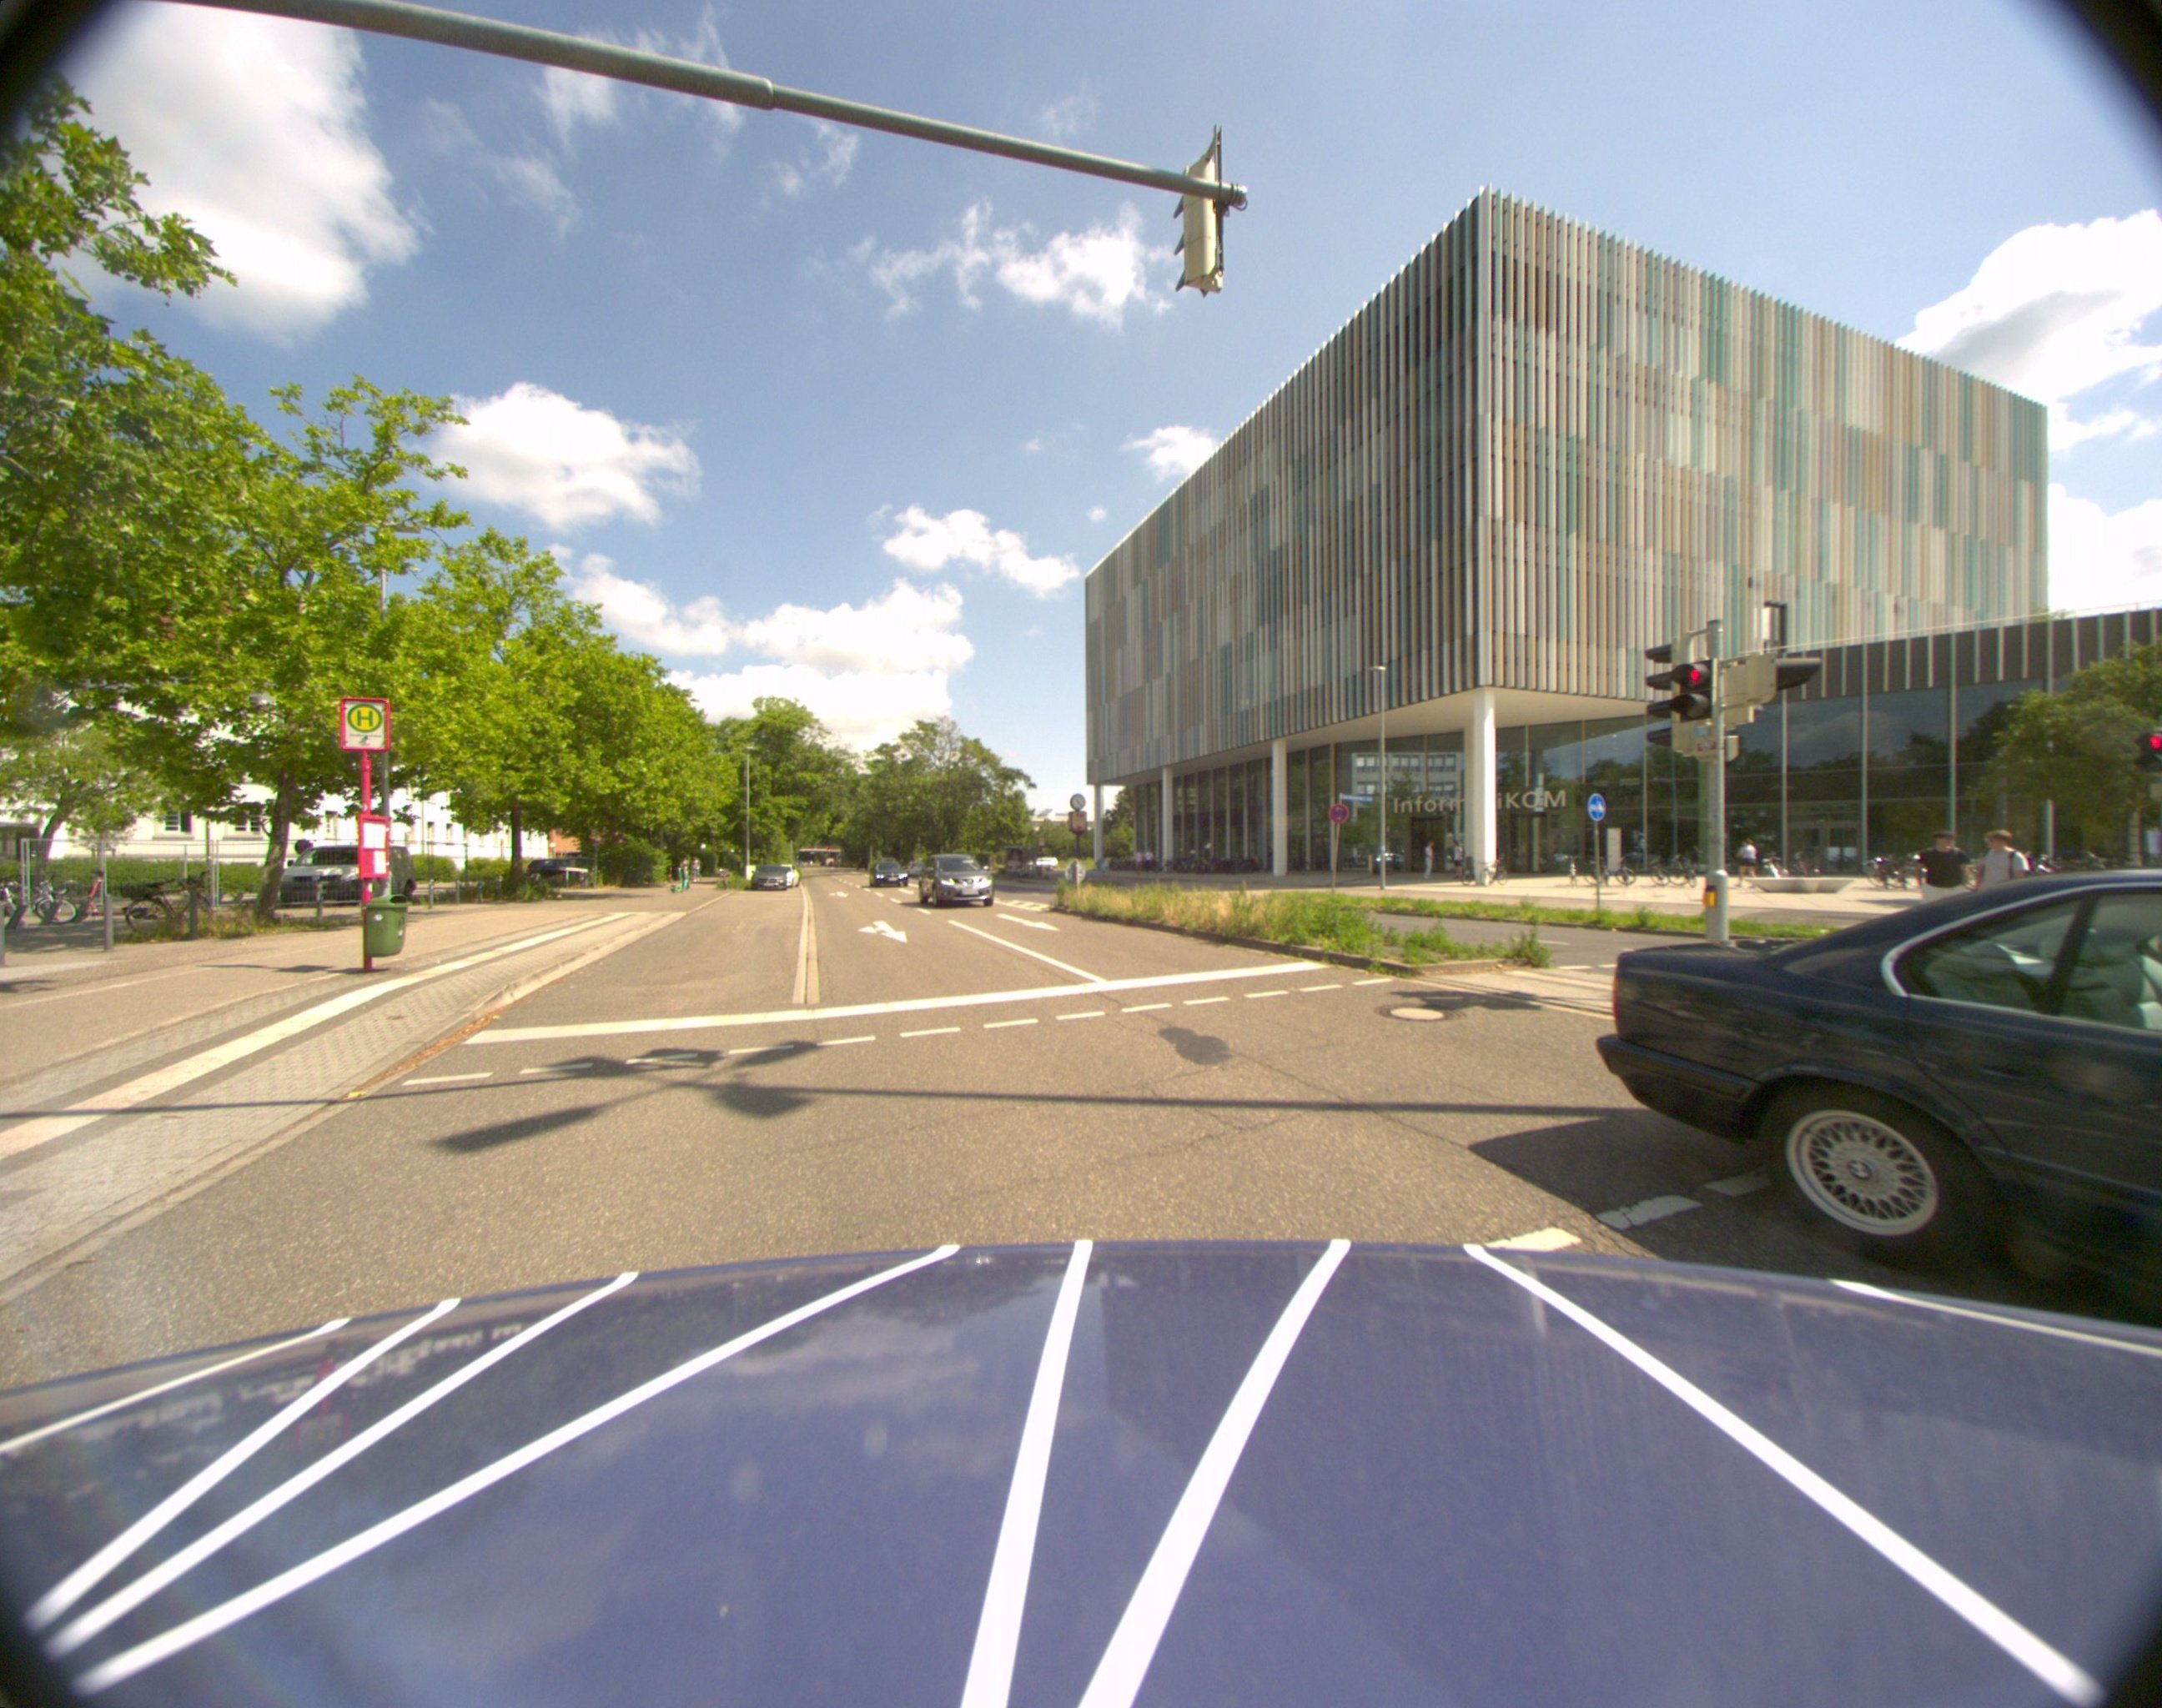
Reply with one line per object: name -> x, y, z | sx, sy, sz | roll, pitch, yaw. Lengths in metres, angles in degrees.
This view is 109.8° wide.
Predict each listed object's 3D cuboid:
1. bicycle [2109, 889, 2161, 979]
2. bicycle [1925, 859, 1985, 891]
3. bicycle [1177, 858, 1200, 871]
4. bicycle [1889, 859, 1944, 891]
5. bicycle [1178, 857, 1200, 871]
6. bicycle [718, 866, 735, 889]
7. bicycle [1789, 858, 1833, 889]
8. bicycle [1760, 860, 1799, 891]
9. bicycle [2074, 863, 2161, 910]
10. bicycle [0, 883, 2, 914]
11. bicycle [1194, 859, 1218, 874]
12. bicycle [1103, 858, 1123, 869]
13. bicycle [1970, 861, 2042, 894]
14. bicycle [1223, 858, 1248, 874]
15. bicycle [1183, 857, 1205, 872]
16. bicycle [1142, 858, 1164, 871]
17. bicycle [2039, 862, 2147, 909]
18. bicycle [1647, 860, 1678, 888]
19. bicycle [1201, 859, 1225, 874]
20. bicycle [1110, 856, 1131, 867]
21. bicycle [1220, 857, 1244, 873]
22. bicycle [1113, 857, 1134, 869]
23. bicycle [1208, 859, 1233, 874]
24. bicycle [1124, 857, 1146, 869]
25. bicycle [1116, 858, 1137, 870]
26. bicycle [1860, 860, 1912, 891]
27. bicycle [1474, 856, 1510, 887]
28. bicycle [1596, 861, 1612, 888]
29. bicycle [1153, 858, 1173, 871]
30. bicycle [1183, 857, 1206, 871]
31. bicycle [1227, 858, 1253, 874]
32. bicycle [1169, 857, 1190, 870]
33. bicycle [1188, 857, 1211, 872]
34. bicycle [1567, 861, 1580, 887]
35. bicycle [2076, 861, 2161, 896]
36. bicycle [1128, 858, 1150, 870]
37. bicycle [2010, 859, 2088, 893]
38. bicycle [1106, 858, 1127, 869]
bicycle -> 14.505, 1.032, 9.618 | 1.666, 1.118, 0.697 | -1, 0, 42
bicycle -> 27.673, 0.650, 24.082 | 0.528, 0.950, 1.776 | -1, 1, 24
bicycle -> 7.921, 0.776, 56.043 | 1.546, 0.950, 0.373 | -2, 1, -6
bicycle -> 27.225, 0.668, 24.786 | 0.528, 0.950, 1.776 | -1, 1, 24
bicycle -> 7.889, 0.755, 55.617 | 1.546, 0.950, 0.373 | -2, 1, -6
bicycle -> -18.545, 1.227, 39.780 | 0.640, 1.183, 2.115 | 1, -1, -21
bicycle -> 24.837, 0.661, 25.883 | 0.528, 0.949, 1.776 | -4, 0, 26
bicycle -> 24.031, 0.723, 26.163 | 0.528, 0.950, 1.776 | -1, 1, 26
bicycle -> 23.217, 0.696, 16.856 | 0.528, 0.950, 1.775 | -1, 1, 18
bicycle -> -33.025, 1.268, 22.134 | 0.514, 1.092, 1.771 | -1, 2, 38
bicycle -> 8.624, 0.838, 52.568 | 1.546, 0.950, 0.373 | -2, 1, -6
bicycle -> 2.944, 0.855, 69.331 | 1.787, 0.950, 0.432 | -2, 1, -21
bicycle -> 28.534, 0.716, 23.476 | 0.528, 0.950, 1.775 | -1, 1, 18
bicycle -> 10.129, 0.768, 49.806 | 1.546, 0.950, 0.373 | -2, 1, -6
bicycle -> 8.174, 0.757, 55.030 | 1.546, 0.950, 0.373 | -2, 1, -6
bicycle -> 5.838, 0.829, 61.589 | 1.787, 0.950, 0.432 | -2, 1, -21
bicycle -> 22.659, 0.689, 17.064 | 0.528, 0.950, 1.775 | -1, 1, 18
bicycle -> 21.562, 0.737, 28.170 | 1.777, 0.950, 0.527 | -2, 1, -40
bicycle -> 9.031, 0.857, 51.971 | 1.546, 0.950, 0.373 | -2, 1, -6
bicycle -> 3.509, 0.652, 67.733 | 1.787, 0.950, 0.432 | -2, 1, -21
bicycle -> 10.034, 0.724, 50.477 | 1.546, 0.950, 0.373 | -2, 1, -6
bicycle -> 3.745, 0.765, 67.151 | 1.787, 0.950, 0.432 | -2, 1, -21
bicycle -> 9.459, 0.836, 51.530 | 1.546, 0.950, 0.373 | -2, 1, -6
bicycle -> 4.590, 0.800, 64.770 | 1.787, 0.950, 0.432 | -2, 1, -21
bicycle -> 3.989, 0.870, 66.101 | 1.787, 0.950, 0.432 | -2, 1, -21
bicycle -> 26.591, 0.683, 25.123 | 0.528, 0.950, 1.776 | -1, 1, 24
bicycle -> 16.797, 0.707, 31.041 | 1.548, 1.180, 0.373 | -3, 2, -22
bicycle -> 20.179, 0.780, 29.323 | 0.372, 0.950, 1.777 | 0, 1, 31
bicycle -> 6.203, 0.798, 57.599 | 1.549, 0.950, 0.372 | -3, 1, -31
bicycle -> 8.149, 0.729, 54.470 | 1.546, 0.950, 0.373 | -2, 1, -6
bicycle -> 10.304, 0.795, 49.237 | 1.546, 0.950, 0.373 | -2, 1, -6
bicycle -> 7.406, 0.699, 57.172 | 1.546, 0.950, 0.373 | -2, 1, -6
bicycle -> 8.402, 0.736, 53.710 | 1.546, 0.950, 0.373 | -2, 1, -6
bicycle -> 19.264, 0.784, 29.748 | 0.372, 0.950, 1.549 | 0, 1, 31
bicycle -> 30.237, 0.699, 22.185 | 0.528, 0.950, 1.775 | -1, 1, 18
bicycle -> 4.902, 0.807, 63.911 | 1.787, 0.950, 0.432 | -2, 1, -21
bicycle -> 29.104, 0.656, 22.885 | 0.528, 0.950, 1.775 | -1, 1, 18
bicycle -> 3.215, 0.832, 68.456 | 1.787, 0.950, 0.432 | -2, 1, -21
